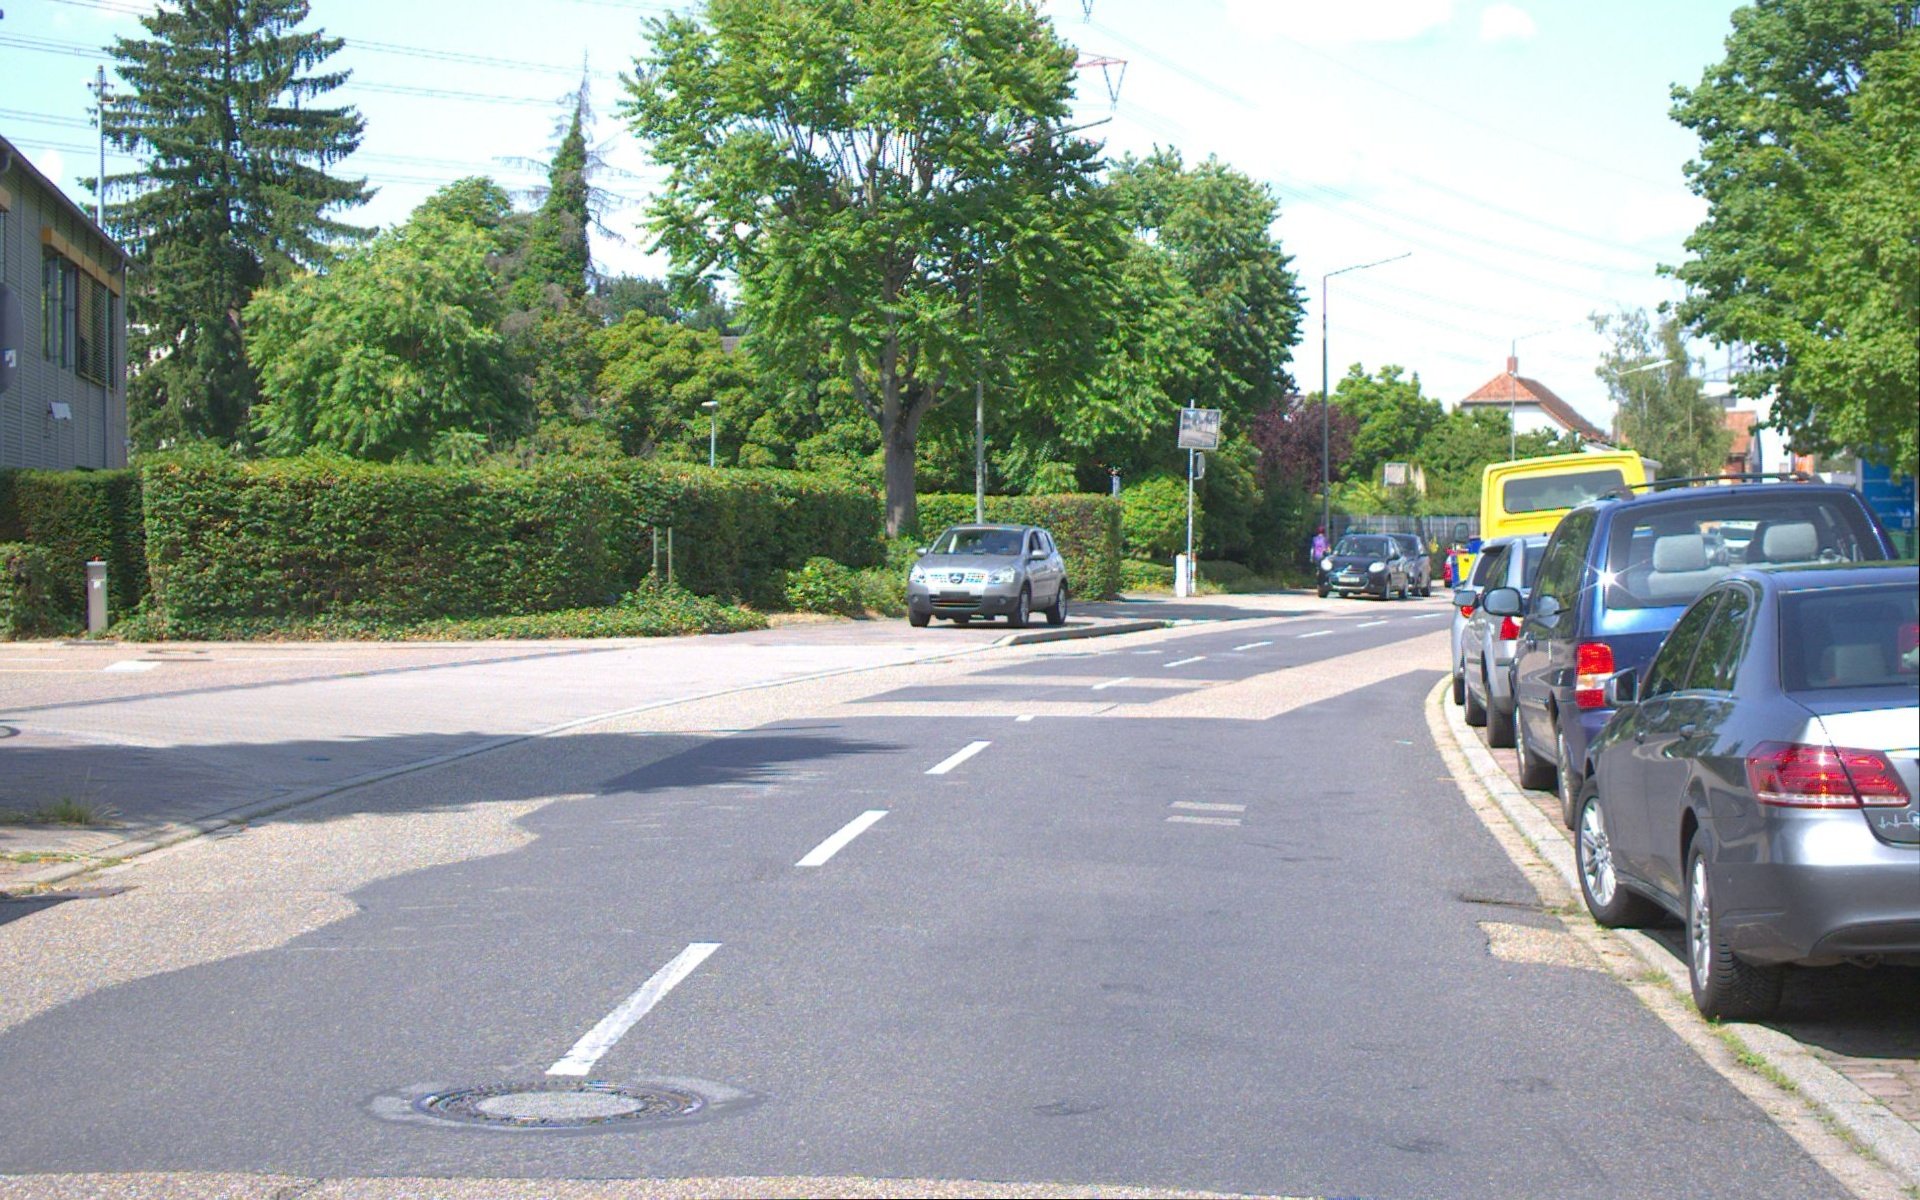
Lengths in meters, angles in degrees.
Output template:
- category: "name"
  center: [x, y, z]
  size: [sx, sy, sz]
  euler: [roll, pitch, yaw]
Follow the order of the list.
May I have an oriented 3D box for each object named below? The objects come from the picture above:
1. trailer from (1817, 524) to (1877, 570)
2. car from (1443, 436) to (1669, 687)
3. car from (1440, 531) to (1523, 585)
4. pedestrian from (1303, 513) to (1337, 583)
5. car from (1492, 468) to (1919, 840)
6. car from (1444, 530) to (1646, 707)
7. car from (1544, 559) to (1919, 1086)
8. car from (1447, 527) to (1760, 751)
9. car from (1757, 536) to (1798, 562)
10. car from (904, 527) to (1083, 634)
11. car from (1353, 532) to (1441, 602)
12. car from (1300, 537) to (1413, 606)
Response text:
- category: "trailer"
  center: [30.061, -1.781, 116.578]
  size: [1.750, 1.412, 4.547]
  euler: [-3, 0, 13]
- category: "car"
  center: [6.614, -0.413, 37.562]
  size: [2.158, 2.456, 6.636]
  euler: [-1, 0, 12]
- category: "car"
  center: [14.820, -1.178, 97.553]
  size: [1.668, 1.462, 3.740]
  euler: [2, 1, 19]
- category: "pedestrian"
  center: [9.320, -1.342, 88.964]
  size: [0.708, 1.795, 0.915]
  euler: [0, 0, 18]
- category: "car"
  center: [4.091, 0.229, 19.289]
  size: [1.850, 1.759, 5.076]
  euler: [-2, 1, 6]
- category: "car"
  center: [5.392, 0.138, 31.623]
  size: [1.686, 1.489, 3.947]
  euler: [-1, 0, 10]
- category: "car"
  center: [3.338, 0.612, 12.340]
  size: [1.841, 1.455, 4.868]
  euler: [-2, 1, 3]
- category: "car"
  center: [4.715, 0.235, 25.778]
  size: [1.833, 1.487, 4.655]
  euler: [-1, 1, 5]
- category: "car"
  center: [47.059, -2.919, 197.931]
  size: [1.798, 1.392, 4.497]
  euler: [2, 1, 19]
- category: "car"
  center: [0.575, -0.314, 53.406]
  size: [1.758, 1.568, 4.474]
  euler: [1, 1, 14]
- category: "car"
  center: [10.991, -0.849, 86.285]
  size: [1.652, 1.639, 3.271]
  euler: [3, 2, 16]
- category: "car"
  center: [9.374, -0.687, 81.083]
  size: [1.846, 1.503, 3.997]
  euler: [3, 2, 18]
